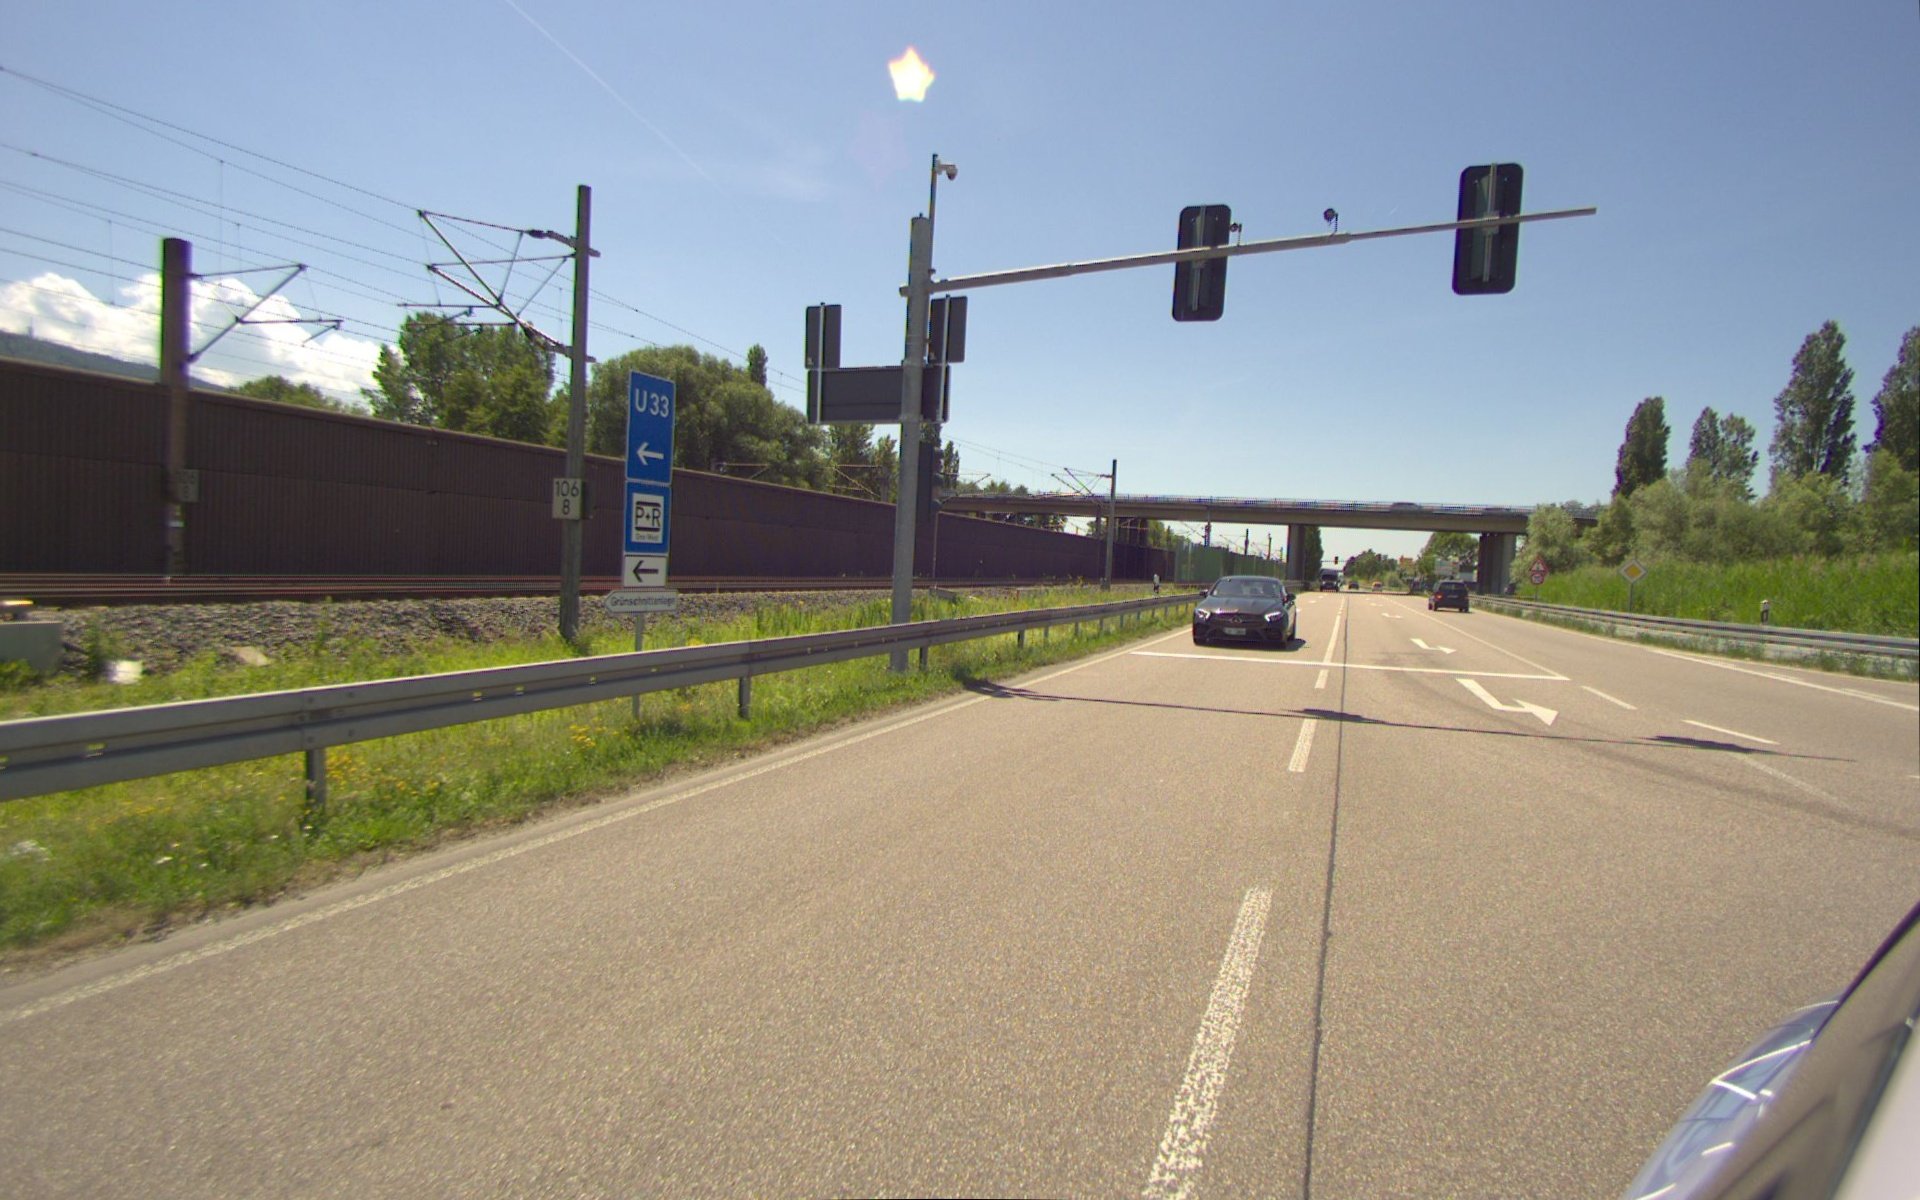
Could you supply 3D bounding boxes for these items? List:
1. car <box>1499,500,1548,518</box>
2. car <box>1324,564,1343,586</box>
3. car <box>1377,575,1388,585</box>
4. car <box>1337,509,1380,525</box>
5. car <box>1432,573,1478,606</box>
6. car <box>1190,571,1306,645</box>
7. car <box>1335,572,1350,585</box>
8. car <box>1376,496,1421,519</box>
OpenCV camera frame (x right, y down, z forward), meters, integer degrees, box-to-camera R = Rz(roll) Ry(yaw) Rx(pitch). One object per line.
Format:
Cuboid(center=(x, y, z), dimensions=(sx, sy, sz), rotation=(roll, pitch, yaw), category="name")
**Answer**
Cuboid(center=(62.774, -10.158, 112.789), dimensions=(4.604, 1.812, 1.895), rotation=(2, 2, 28), category="car")
Cuboid(center=(43.476, -2.901, 117.853), dimensions=(1.891, 2.472, 4.614), rotation=(2, 2, 22), category="car")
Cuboid(center=(68.951, -3.219, 165.236), dimensions=(1.572, 1.581, 3.660), rotation=(2, 2, 22), category="car")
Cuboid(center=(47.695, -9.940, 121.021), dimensions=(4.602, 1.812, 1.896), rotation=(2, 2, 27), category="car")
Cuboid(center=(25.371, -0.563, 51.971), dimensions=(1.623, 1.616, 3.539), rotation=(3, 2, 20), category="car")
Cuboid(center=(6.282, 0.094, 21.734), dimensions=(1.891, 1.381, 4.614), rotation=(2, 2, 22), category="car")
Cuboid(center=(55.142, -3.112, 145.923), dimensions=(1.823, 1.711, 3.971), rotation=(3, 2, 22), category="car")
Cuboid(center=(50.218, -10.562, 115.819), dimensions=(4.604, 2.472, 1.895), rotation=(2, 2, 28), category="car")
